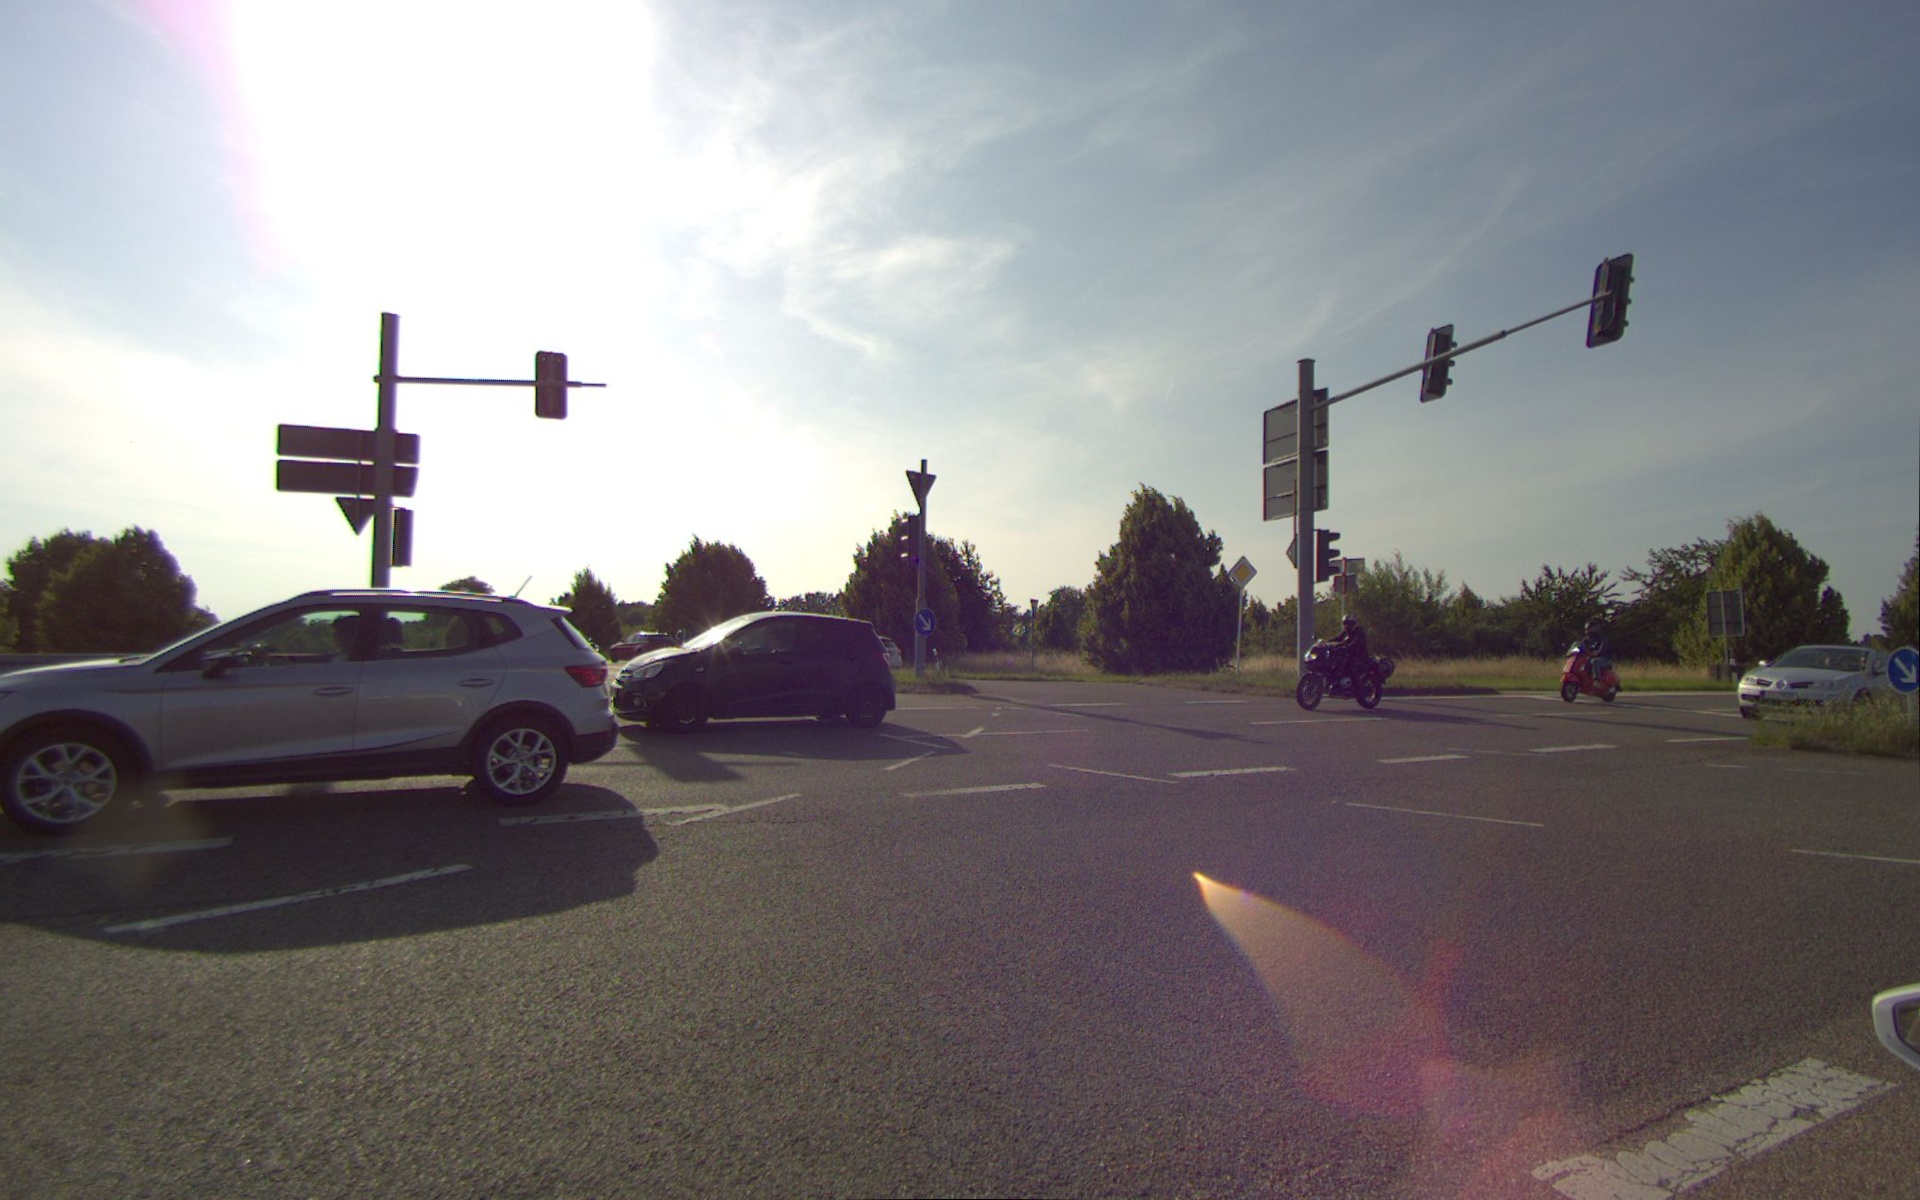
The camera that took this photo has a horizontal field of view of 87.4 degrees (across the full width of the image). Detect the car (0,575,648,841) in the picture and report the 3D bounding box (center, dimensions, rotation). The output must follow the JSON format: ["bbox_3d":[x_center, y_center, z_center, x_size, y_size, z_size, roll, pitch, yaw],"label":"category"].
[{"bbox_3d":[-4.563,0.691,7.398,4.044,1.543,1.678,2,-1,-30],"label":"car"}]

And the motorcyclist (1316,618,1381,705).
[{"bbox_3d":[7.021,1.090,18.156,0.885,1.523,0.695,2,-1,-28],"label":"motorcyclist"}]

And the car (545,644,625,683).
[{"bbox_3d":[-15.579,2.605,41.600,1.943,1.416,3.955,2,-2,-39],"label":"car"}]

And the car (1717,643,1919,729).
[{"bbox_3d":[15.965,1.515,18.211,4.392,1.371,1.690,2,-1,-24],"label":"car"}]

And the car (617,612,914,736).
[{"bbox_3d":[-2.542,0.926,13.228,3.479,1.431,1.678,2,-1,-29],"label":"car"}]

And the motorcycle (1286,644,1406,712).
[{"bbox_3d":[6.974,1.392,18.111,2.249,1.153,0.698,2,-1,-28],"label":"motorcycle"}]

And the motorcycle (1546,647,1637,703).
[{"bbox_3d":[13.876,1.633,22.071,1.995,1.174,0.706,2,-1,-24],"label":"motorcycle"}]

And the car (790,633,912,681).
[{"bbox_3d":[-4.043,2.043,36.925,4.378,1.555,1.945,0,-2,39],"label":"car"}]

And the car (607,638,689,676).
[{"bbox_3d":[-14.605,2.642,46.912,4.073,1.607,1.916,0,-2,44],"label":"car"}]

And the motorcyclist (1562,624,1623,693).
[{"bbox_3d":[13.893,1.277,22.068,1.006,1.484,0.703,2,-1,-24],"label":"motorcyclist"}]
